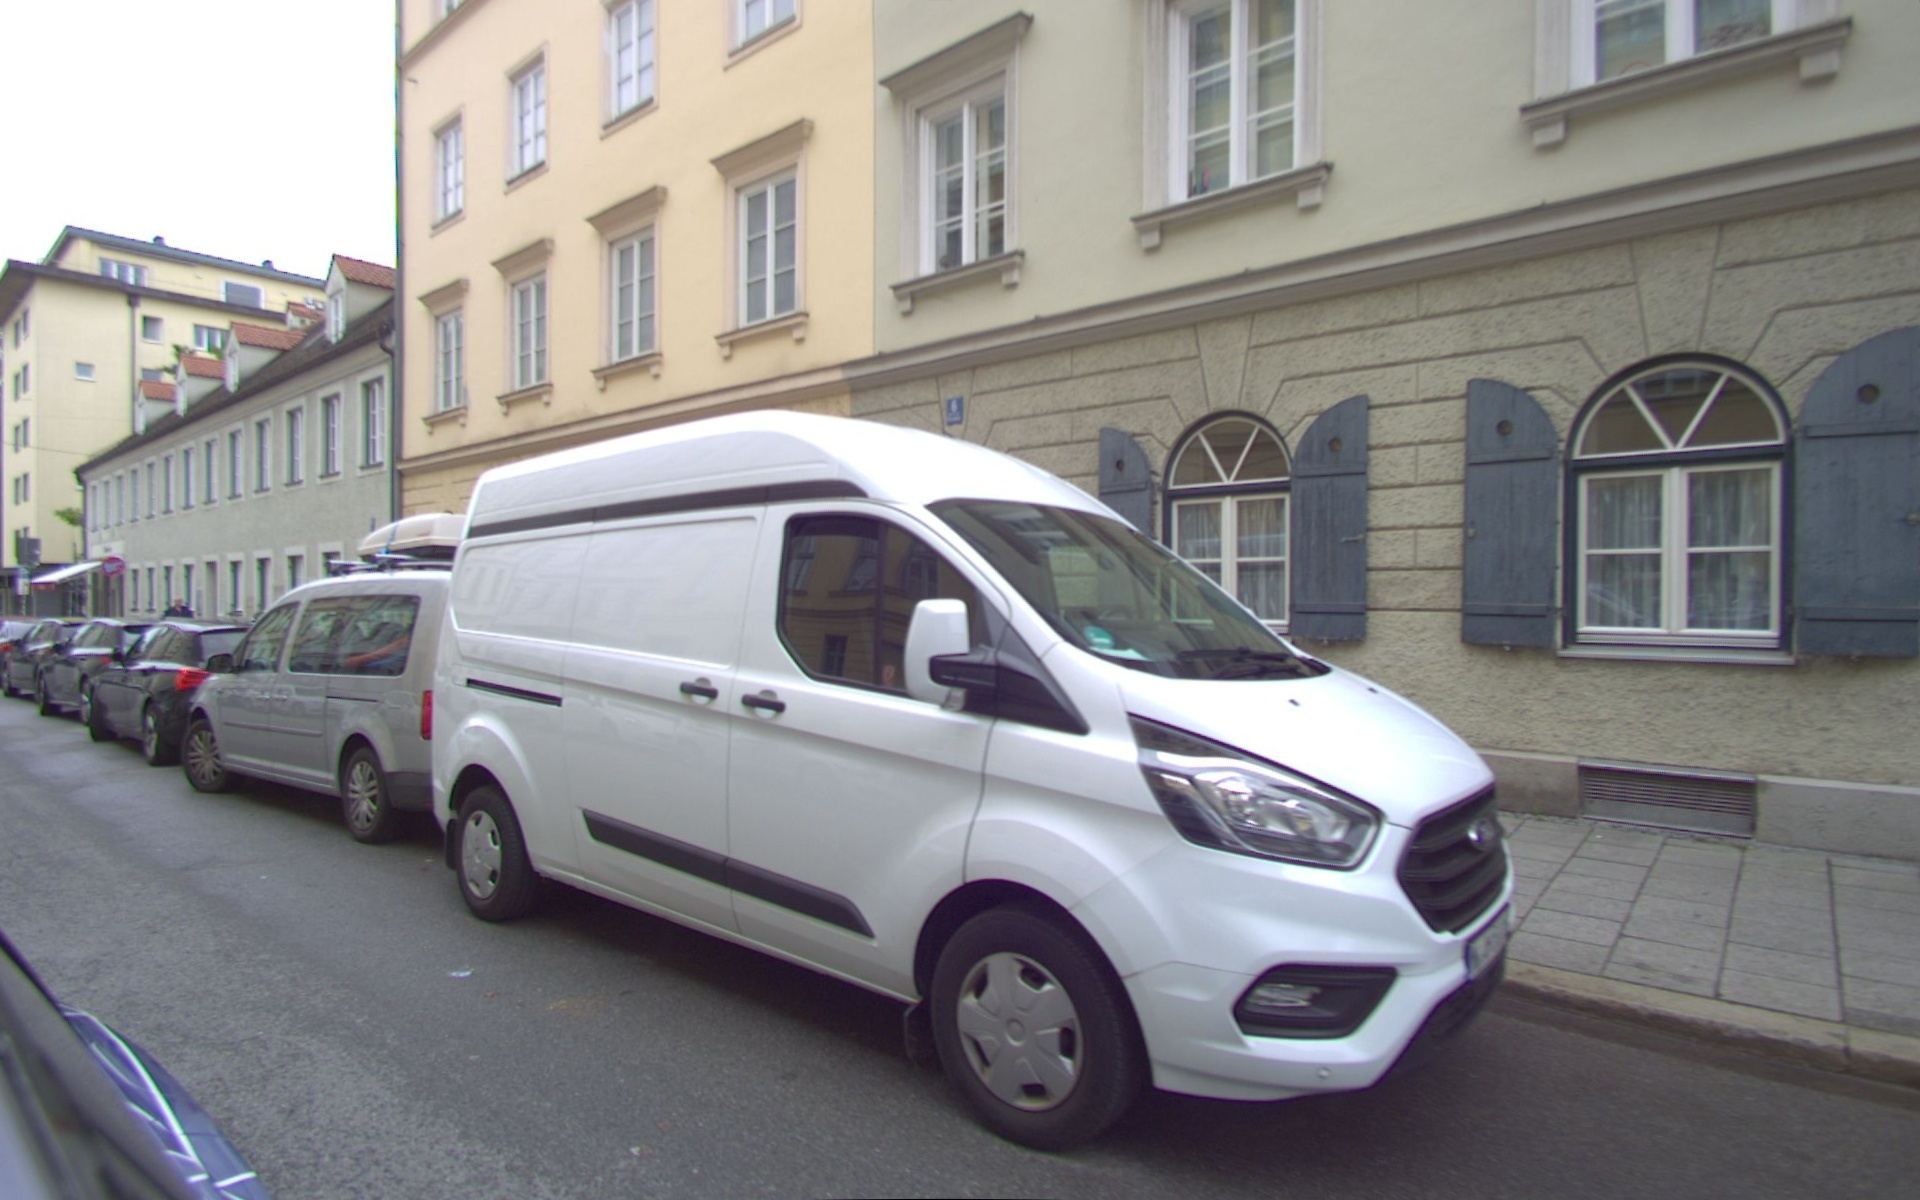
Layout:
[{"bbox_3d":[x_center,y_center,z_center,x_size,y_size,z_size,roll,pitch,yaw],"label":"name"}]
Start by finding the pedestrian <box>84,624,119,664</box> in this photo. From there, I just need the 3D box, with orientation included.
[{"bbox_3d":[-28.636,1.463,33.761,0.693,1.300,0.795,0,0,41],"label":"pedestrian"}]

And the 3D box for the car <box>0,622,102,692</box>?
[{"bbox_3d":[-20.334,1.189,22.037,4.682,1.349,1.780,-2,-1,40],"label":"car"}]

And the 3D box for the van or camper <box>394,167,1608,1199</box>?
[{"bbox_3d":[-0.455,0.329,4.350,5.269,2.298,1.737,-1,-1,40],"label":"van or camper"}]

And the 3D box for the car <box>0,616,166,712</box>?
[{"bbox_3d":[-15.889,1.052,18.115,4.195,1.507,1.737,-1,-1,39],"label":"car"}]

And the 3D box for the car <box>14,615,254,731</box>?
[{"bbox_3d":[-12.038,0.971,14.669,4.125,1.452,1.799,-1,-2,38],"label":"car"}]

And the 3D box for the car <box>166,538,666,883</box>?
[{"bbox_3d":[-4.476,0.670,8.002,4.618,2.010,1.738,-1,-1,37],"label":"car"}]

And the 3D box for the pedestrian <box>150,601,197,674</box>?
[{"bbox_3d":[-21.009,0.986,27.035,0.827,1.912,0.814,0,0,40],"label":"pedestrian"}]

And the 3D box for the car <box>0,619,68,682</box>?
[{"bbox_3d":[-24.289,1.244,25.771,3.709,1.486,1.738,-1,0,38],"label":"car"}]

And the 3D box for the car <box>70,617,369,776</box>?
[{"bbox_3d":[-8.259,0.905,11.159,4.100,1.419,1.737,-1,-1,40],"label":"car"}]

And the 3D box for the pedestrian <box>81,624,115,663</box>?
[{"bbox_3d":[-29.170,1.458,34.251,0.693,1.299,0.795,0,0,41],"label":"pedestrian"}]
